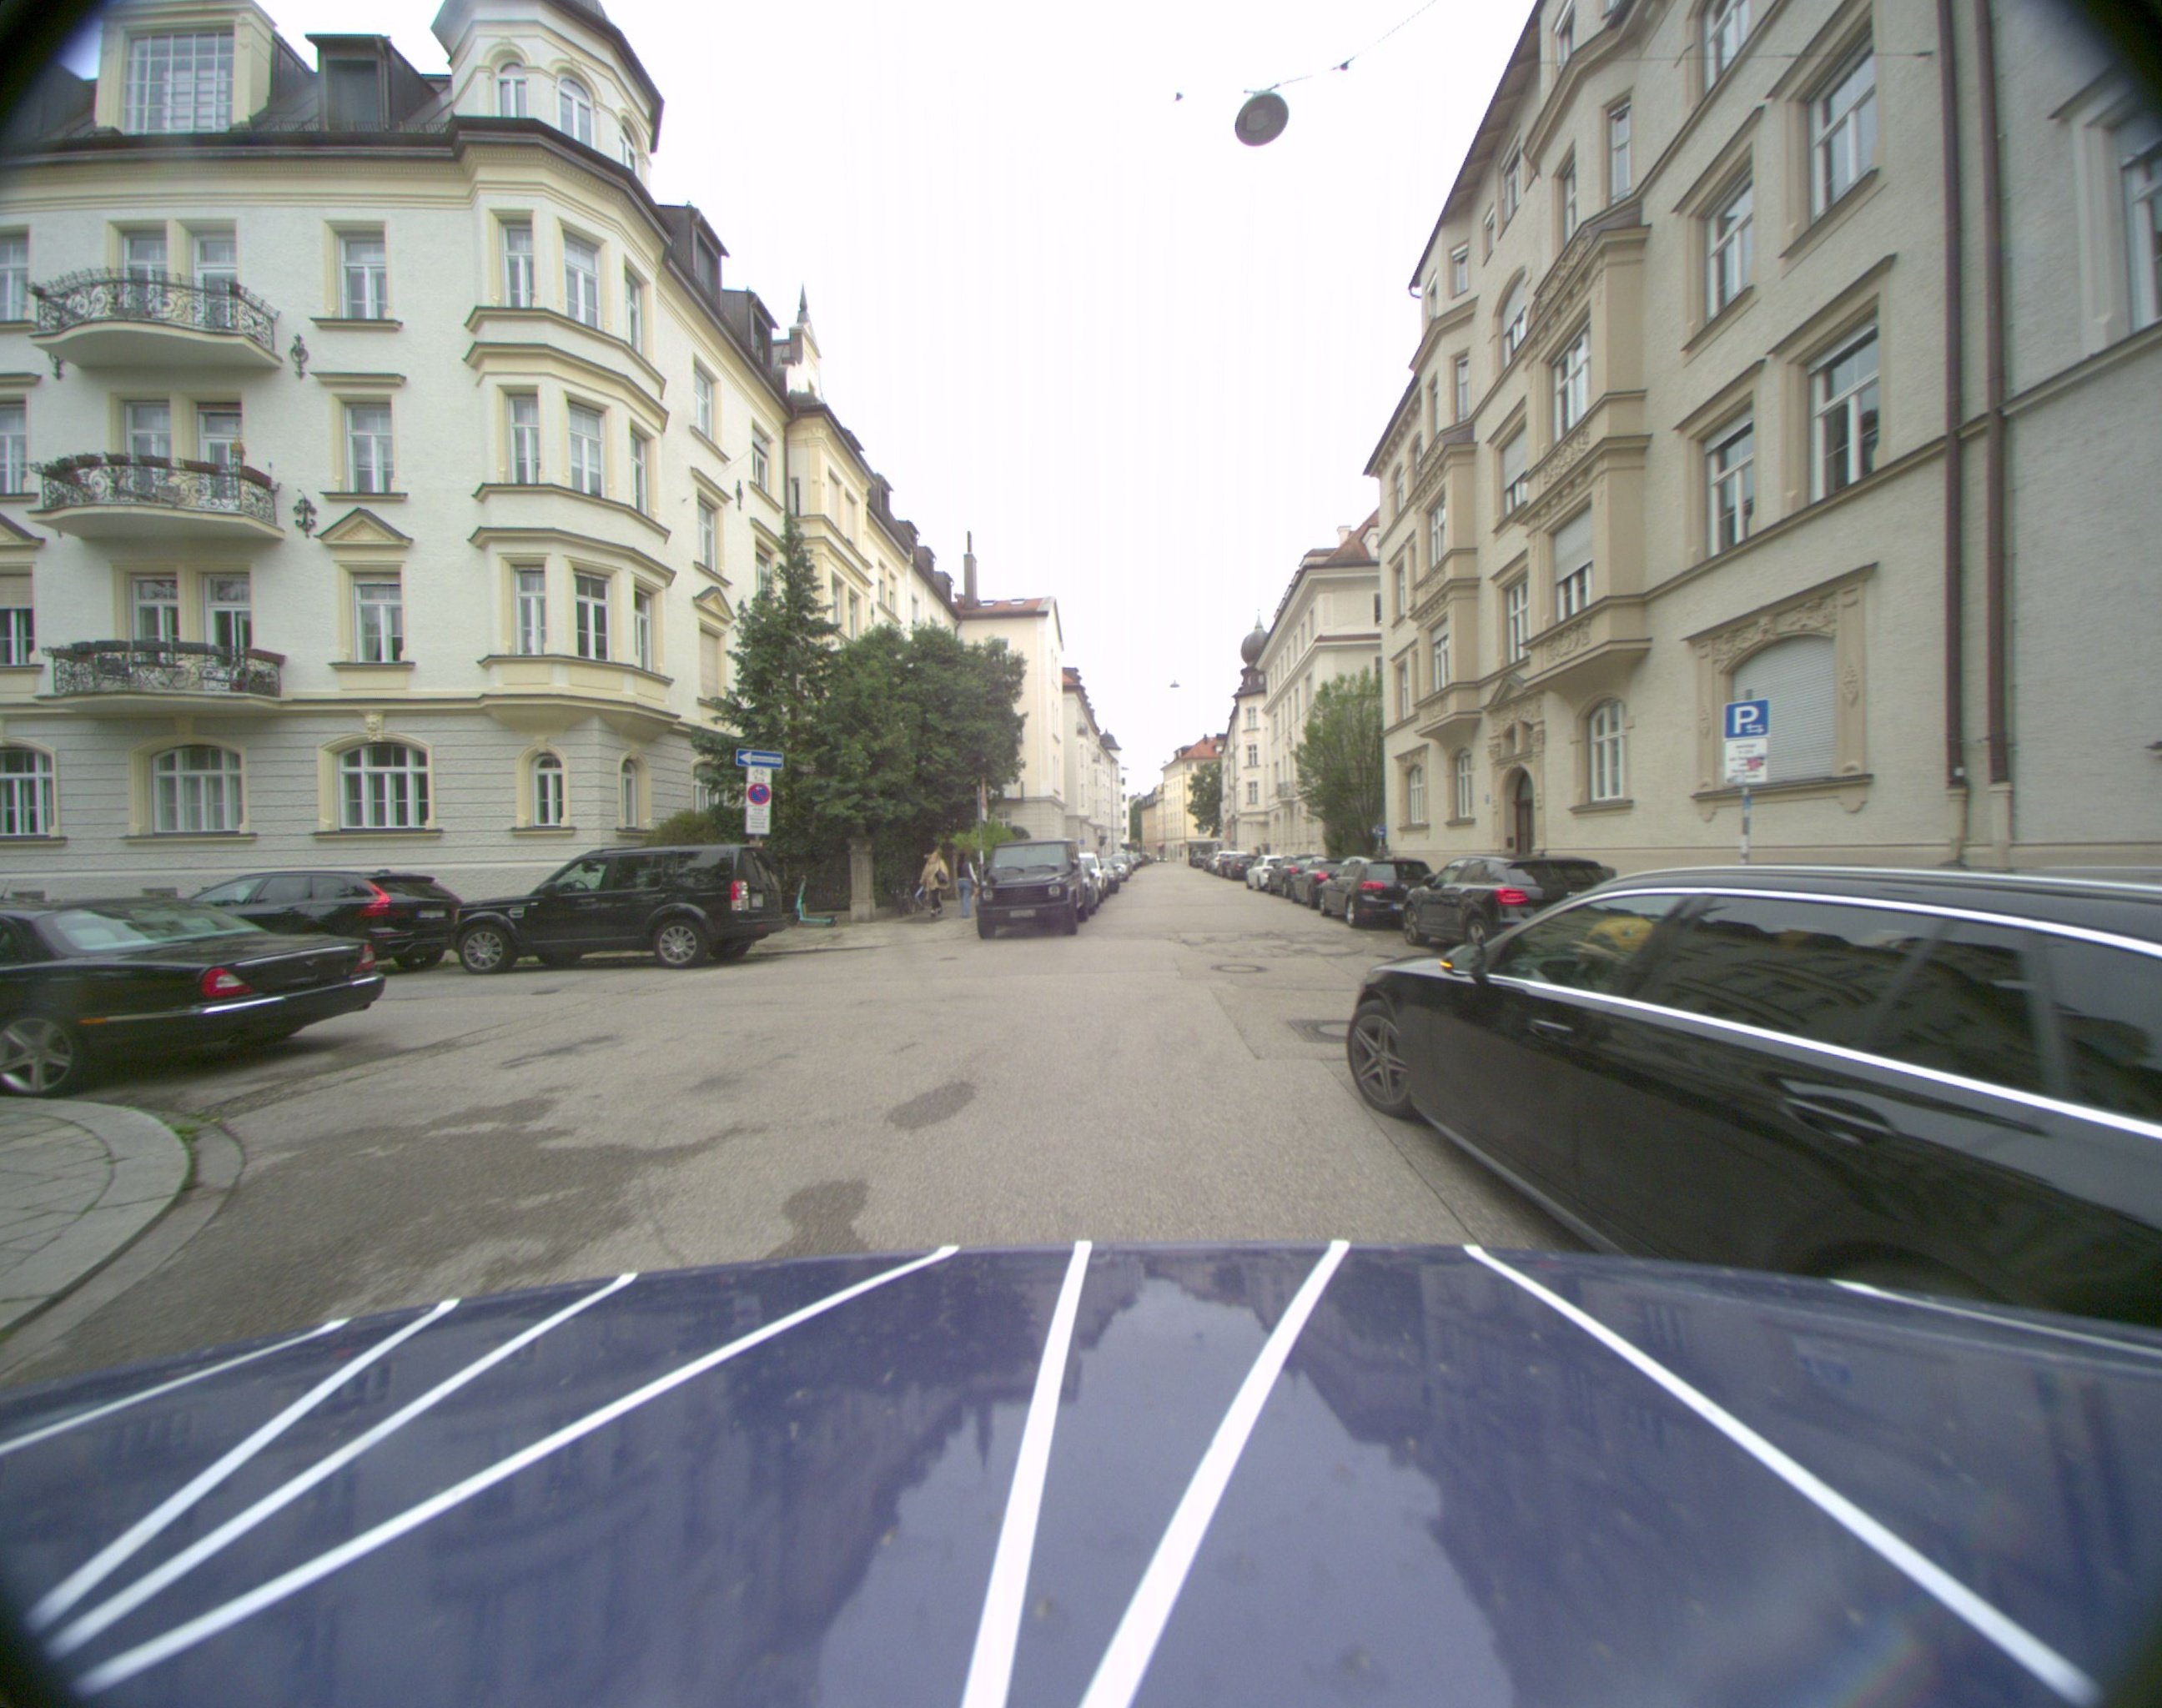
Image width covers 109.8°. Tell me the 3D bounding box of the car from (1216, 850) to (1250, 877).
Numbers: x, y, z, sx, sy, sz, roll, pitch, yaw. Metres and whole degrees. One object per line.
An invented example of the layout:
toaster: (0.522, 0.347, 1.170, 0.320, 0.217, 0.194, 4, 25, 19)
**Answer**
car: (9.177, 0.552, 46.077, 1.626, 1.522, 3.690, 0, 0, 4)

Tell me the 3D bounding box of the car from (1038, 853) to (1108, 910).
car: (-0.182, 0.884, 26.343, 1.998, 1.643, 4.449, -5, 0, 3)

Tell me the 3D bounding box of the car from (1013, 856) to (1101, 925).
car: (-0.560, 0.935, 21.184, 1.998, 1.585, 3.856, -5, 0, 3)

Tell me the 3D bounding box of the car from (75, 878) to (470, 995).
car: (-12.318, 1.211, 11.802, 4.223, 1.577, 1.743, -1, -2, -1)

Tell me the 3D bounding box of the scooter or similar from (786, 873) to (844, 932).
scooter or similar: (-5.904, 1.069, 16.879, 1.089, 1.256, 0.447, -1, 1, 6)

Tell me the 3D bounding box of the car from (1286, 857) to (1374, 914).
car: (6.816, 0.806, 21.149, 1.626, 1.421, 3.590, 0, 0, 6)

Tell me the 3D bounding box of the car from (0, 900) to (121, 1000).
car: (-17.872, 1.496, 11.698, 3.890, 1.441, 1.743, -1, -2, -1)

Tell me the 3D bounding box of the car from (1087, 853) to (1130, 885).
car: (1.629, 0.809, 43.426, 1.998, 1.585, 4.301, -5, 0, 7)

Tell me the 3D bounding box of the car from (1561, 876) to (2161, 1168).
car: (5.562, 0.905, 5.703, 1.809, 1.355, 3.731, 0, 0, 5)

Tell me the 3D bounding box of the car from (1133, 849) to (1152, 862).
car: (8.389, 0.182, 103.714, 1.997, 1.585, 4.302, -5, 0, 10)

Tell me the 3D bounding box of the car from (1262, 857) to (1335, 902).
car: (7.432, 0.819, 26.302, 1.626, 1.421, 3.690, 0, 0, 3)

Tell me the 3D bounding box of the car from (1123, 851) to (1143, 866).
car: (6.043, 0.476, 88.413, 1.998, 1.585, 4.301, -5, 0, 7)

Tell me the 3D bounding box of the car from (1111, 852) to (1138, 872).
car: (3.948, 0.688, 68.185, 1.998, 1.585, 4.301, -5, 0, 7)

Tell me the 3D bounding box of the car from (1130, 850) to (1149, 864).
car: (7.616, 0.362, 98.889, 1.997, 1.585, 4.430, -5, 0, 8)

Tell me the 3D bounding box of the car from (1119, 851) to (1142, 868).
car: (5.183, 0.559, 78.850, 1.998, 1.585, 4.301, -5, 0, 7)

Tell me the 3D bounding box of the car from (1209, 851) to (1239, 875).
car: (9.648, 0.594, 51.500, 1.626, 1.522, 3.921, 0, 0, 4)

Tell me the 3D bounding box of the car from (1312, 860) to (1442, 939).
car: (6.161, 0.876, 16.273, 1.626, 1.421, 3.943, 0, 0, 6)

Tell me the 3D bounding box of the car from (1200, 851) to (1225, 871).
car: (10.595, 0.540, 61.450, 1.626, 1.522, 3.921, 0, 0, 4)

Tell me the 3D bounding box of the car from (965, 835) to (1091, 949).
car: (-0.956, 0.713, 16.182, 1.998, 1.949, 4.434, -5, 0, 3)

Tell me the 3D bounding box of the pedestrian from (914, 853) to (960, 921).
pedestrian: (-3.677, 0.832, 19.492, 0.876, 1.680, 1.052, -2, 1, 4)

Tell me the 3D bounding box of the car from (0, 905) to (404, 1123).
car: (-8.872, 1.234, 6.206, 4.953, 1.404, 1.742, -1, 0, -3)

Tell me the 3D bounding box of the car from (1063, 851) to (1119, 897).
car: (0.499, 0.777, 31.262, 1.998, 1.585, 4.300, -5, 0, 3)

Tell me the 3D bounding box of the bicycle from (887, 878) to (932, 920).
bicycle: (-4.442, 1.145, 19.818, 0.448, 0.979, 1.781, -2, 0, 10)

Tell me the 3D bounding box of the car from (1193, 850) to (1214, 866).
car: (11.658, 0.385, 72.591, 1.626, 1.522, 3.921, 0, 0, 4)

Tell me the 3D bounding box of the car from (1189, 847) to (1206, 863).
car: (12.872, 0.112, 84.175, 1.626, 1.711, 3.921, 0, 0, 4)

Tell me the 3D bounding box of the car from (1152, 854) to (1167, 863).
car: (14.317, 0.829, 138.430, 1.999, 1.641, 3.999, -2, 0, -3)

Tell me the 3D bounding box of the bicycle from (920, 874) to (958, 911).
bicycle: (-4.138, 1.106, 22.264, 0.448, 0.979, 1.781, -2, 0, 10)

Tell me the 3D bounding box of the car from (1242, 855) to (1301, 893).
car: (7.648, 0.780, 30.816, 1.626, 1.421, 3.690, 0, 0, 3)

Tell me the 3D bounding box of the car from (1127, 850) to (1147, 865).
car: (6.931, 0.398, 93.492, 1.997, 1.672, 4.301, -5, 0, 8)

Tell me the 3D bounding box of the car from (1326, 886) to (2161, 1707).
car: (2.419, 0.935, 2.488, 1.792, 1.405, 4.582, -1, 0, 1)

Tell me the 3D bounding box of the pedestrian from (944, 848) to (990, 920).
pedestrian: (-2.844, 0.734, 19.051, 0.876, 1.745, 1.052, -2, 1, 4)

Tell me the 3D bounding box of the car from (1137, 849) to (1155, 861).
car: (9.666, 0.156, 112.506, 1.997, 1.585, 4.302, -5, 0, 11)

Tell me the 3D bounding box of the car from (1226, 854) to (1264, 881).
car: (8.864, 0.702, 41.300, 1.626, 1.421, 3.691, 0, 0, 6)

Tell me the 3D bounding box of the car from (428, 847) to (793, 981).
car: (-7.251, 0.917, 12.061, 4.677, 1.860, 1.743, -1, -2, -1)

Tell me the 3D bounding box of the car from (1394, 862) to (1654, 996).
car: (5.845, 0.873, 10.623, 1.626, 1.448, 3.942, 0, 0, 5)

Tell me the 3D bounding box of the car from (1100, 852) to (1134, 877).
car: (2.633, 0.707, 54.259, 1.998, 1.585, 4.301, -5, 0, 7)
